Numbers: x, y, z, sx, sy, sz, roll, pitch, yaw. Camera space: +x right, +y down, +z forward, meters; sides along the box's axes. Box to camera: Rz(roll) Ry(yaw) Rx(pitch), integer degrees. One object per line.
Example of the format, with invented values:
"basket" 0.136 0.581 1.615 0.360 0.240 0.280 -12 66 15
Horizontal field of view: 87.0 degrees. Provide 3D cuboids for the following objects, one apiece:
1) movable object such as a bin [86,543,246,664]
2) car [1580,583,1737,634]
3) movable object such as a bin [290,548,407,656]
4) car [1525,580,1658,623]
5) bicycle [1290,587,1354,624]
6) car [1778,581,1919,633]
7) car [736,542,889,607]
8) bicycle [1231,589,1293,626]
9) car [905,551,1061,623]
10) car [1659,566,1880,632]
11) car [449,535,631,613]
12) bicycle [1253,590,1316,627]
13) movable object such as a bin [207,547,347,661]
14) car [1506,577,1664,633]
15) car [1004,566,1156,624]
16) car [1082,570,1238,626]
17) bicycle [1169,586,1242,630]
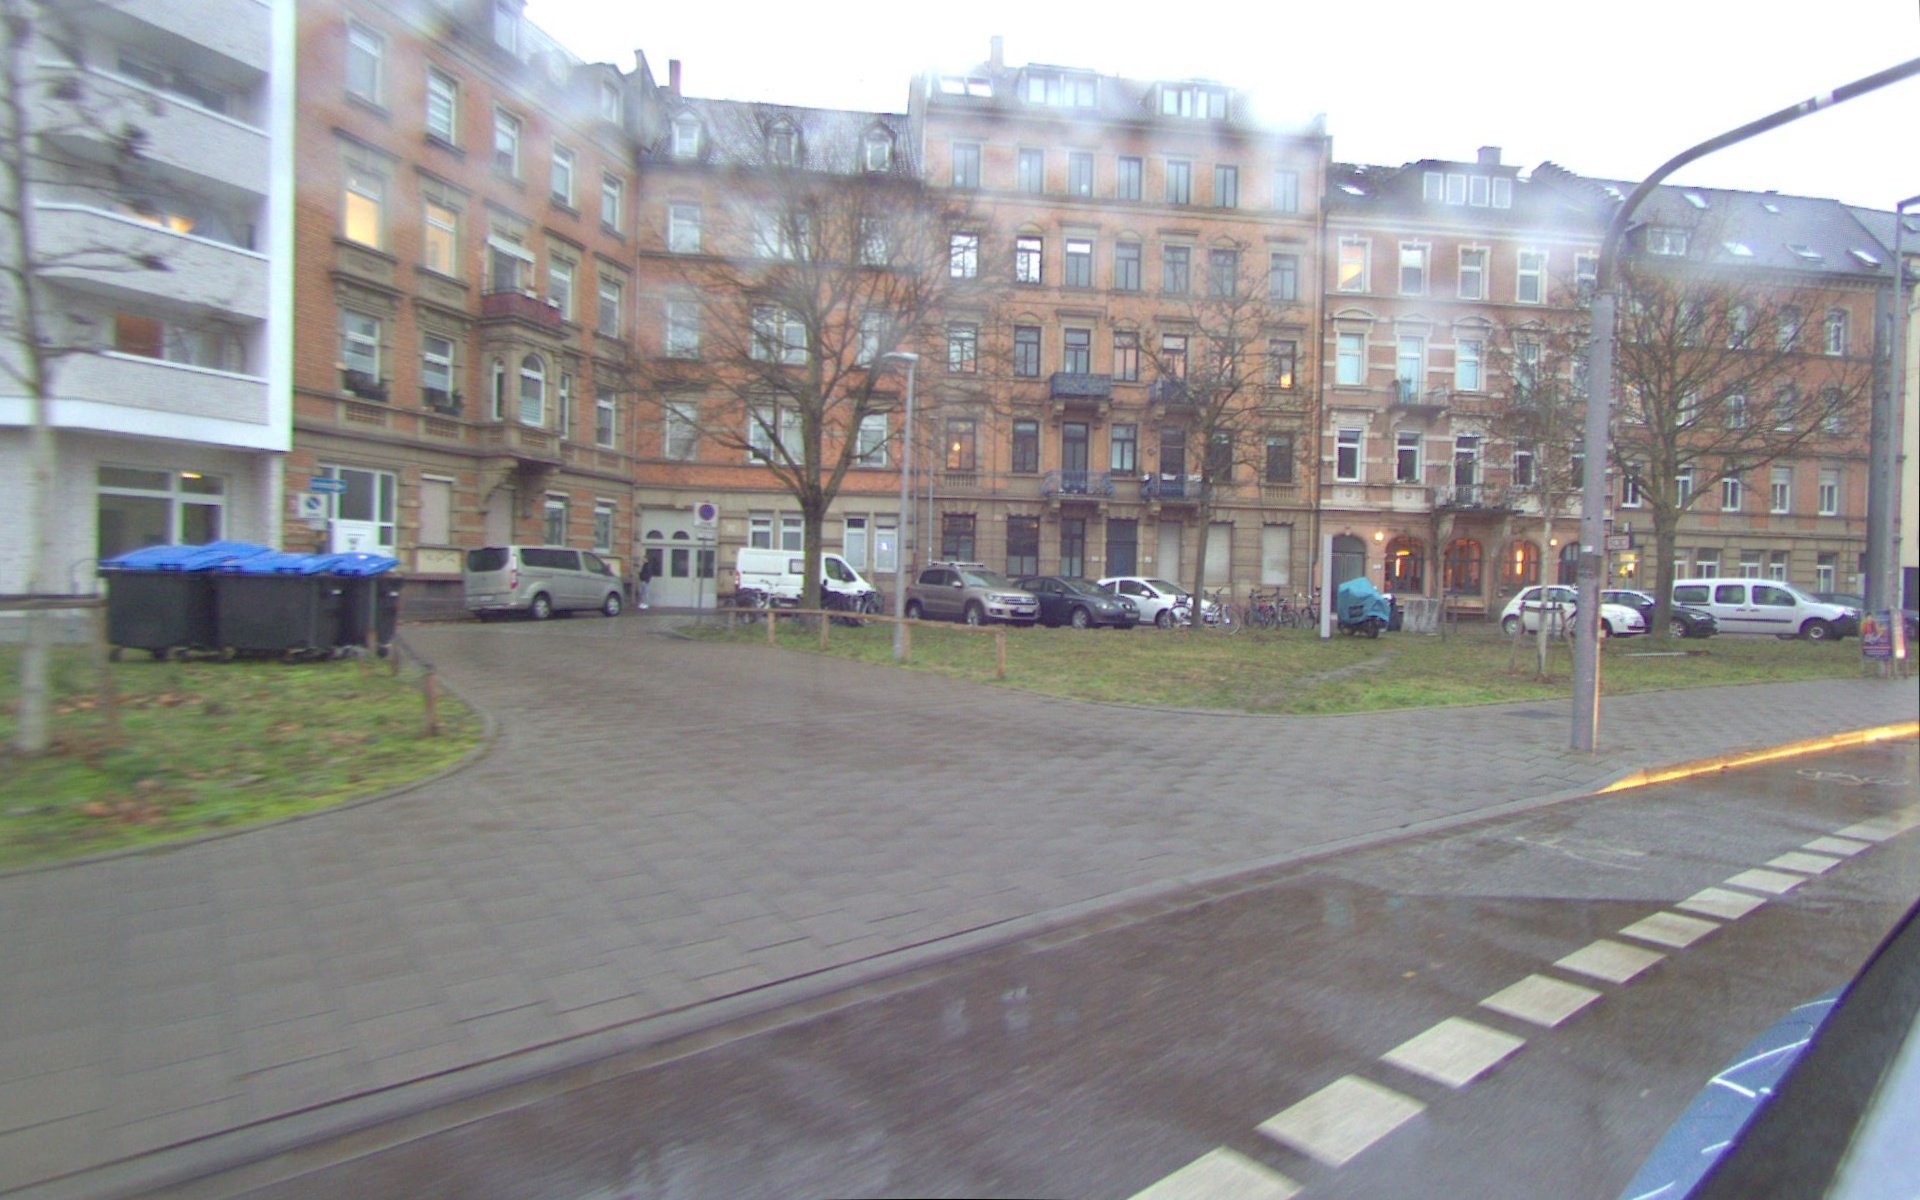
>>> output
"movable object such as a bin" -10.434 0.036 13.353 1.302 1.514 1.032 1 1 -4
"car" 20.147 0.212 29.268 1.634 1.368 3.429 1 0 -39
"movable object such as a bin" -8.803 0.038 14.616 1.022 1.509 1.035 0 -1 5
"car" 23.311 0.078 37.423 3.967 1.520 1.740 1 -1 -9
"bicycle" 10.319 0.142 28.916 0.613 0.978 2.176 1 2 -13
"car" 26.308 0.222 29.018 1.737 1.250 4.065 2 3 -36
"car" -4.941 -0.864 33.891 4.884 2.038 2.004 1 2 -9
"bicycle" 8.522 0.216 28.654 0.613 0.978 2.175 3 -1 -13
"car" 0.499 -0.398 25.855 1.908 1.656 3.999 -1 3 -37
"car" 23.213 -0.087 29.199 1.745 1.612 4.663 0 3 -38
"car" -11.410 -0.609 27.901 1.975 1.943 4.716 -1 -1 20
"bicycle" 9.179 0.237 28.728 0.613 0.978 2.175 3 -1 -13
"movable object such as a bin" -9.109 0.032 13.545 1.200 1.433 1.018 1 2 -3
"car" 17.528 0.134 28.516 1.583 1.461 3.466 1 -1 -35
"car" 3.031 -0.129 26.061 1.649 1.372 3.736 2 -1 -43
"car" 5.251 -0.096 26.958 1.669 1.353 3.852 0 1 -42
"bicycle" 5.785 0.173 23.879 1.628 0.948 0.512 2 1 14
